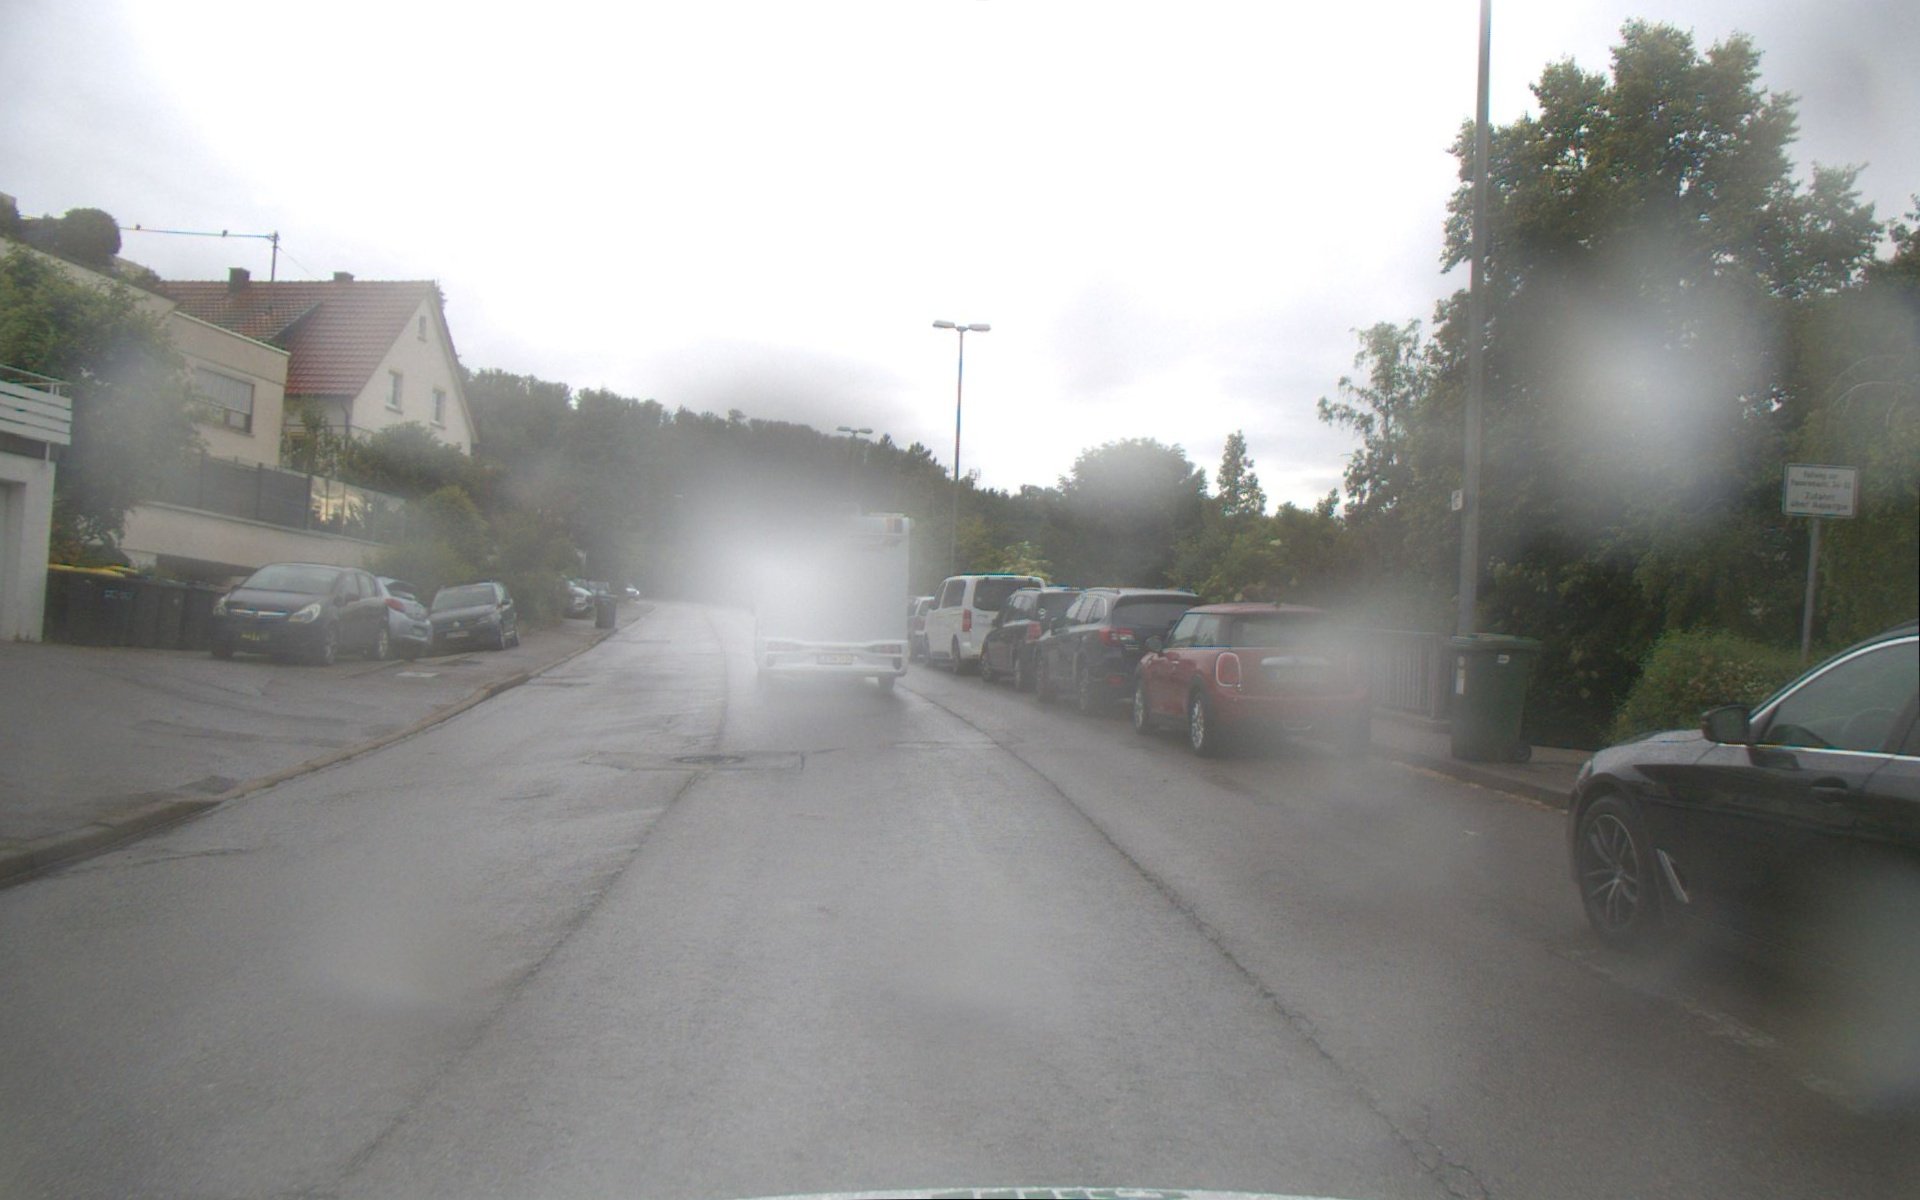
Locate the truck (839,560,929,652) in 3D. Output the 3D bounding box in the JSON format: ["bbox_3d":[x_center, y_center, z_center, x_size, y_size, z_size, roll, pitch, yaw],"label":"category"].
[{"bbox_3d":[-2.455,0.187,51.633,2.197,2.677,6.526,1,0,-8],"label":"truck"}]

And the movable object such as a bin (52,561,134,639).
[{"bbox_3d":[-12.173,-0.006,23.235,0.734,1.076,0.701,0,0,6],"label":"movable object such as a bin"}]

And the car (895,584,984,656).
[{"bbox_3d":[-0.530,0.452,39.023,1.617,1.590,3.956,1,0,-8],"label":"car"}]

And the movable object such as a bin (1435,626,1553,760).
[{"bbox_3d":[4.660,0.797,14.467,0.699,1.113,0.848,1,0,-5],"label":"movable object such as a bin"}]

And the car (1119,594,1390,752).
[{"bbox_3d":[2.896,0.683,17.091,1.702,1.439,3.846,1,0,-7],"label":"car"}]

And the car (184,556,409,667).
[{"bbox_3d":[-9.884,0.173,25.009,1.731,1.400,4.245,5,-1,-2],"label":"car"}]

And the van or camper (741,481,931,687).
[{"bbox_3d":[-2.204,-0.152,27.271,2.567,2.903,6.018,3,-2,-9],"label":"van or camper"}]

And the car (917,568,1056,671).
[{"bbox_3d":[0.447,0.378,33.616,1.816,1.915,4.897,1,0,-11],"label":"car"}]

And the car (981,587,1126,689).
[{"bbox_3d":[1.477,0.599,27.768,1.614,1.567,4.345,1,0,-8],"label":"car"}]

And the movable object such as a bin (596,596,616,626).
[{"bbox_3d":[-11.674,0.370,54.552,0.592,0.944,0.562,3,0,-14],"label":"movable object such as a bin"}]

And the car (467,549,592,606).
[{"bbox_3d":[-16.006,-0.820,61.580,3.971,1.721,1.894,5,-1,4],"label":"car"}]

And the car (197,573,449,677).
[{"bbox_3d":[-11.461,0.450,29.916,3.747,1.503,1.805,-5,-1,5],"label":"car"}]

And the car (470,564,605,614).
[{"bbox_3d":[-17.522,-0.444,68.686,4.976,1.978,2.143,1,0,7],"label":"car"}]

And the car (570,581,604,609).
[{"bbox_3d":[-21.885,-0.334,97.131,1.578,1.459,3.950,5,0,-10],"label":"car"}]

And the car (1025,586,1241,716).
[{"bbox_3d":[2.169,0.622,22.133,1.782,1.533,4.715,1,0,-8],"label":"car"}]

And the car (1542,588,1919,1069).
[{"bbox_3d":[3.820,0.715,5.614,1.757,1.485,4.785,1,0,-4],"label":"car"}]

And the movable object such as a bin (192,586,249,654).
[{"bbox_3d":[-12.084,0.319,27.033,0.638,1.097,0.558,0,0,12],"label":"movable object such as a bin"}]

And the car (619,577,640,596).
[{"bbox_3d":[-30.332,-1.251,151.888,1.872,1.635,4.416,2,0,-11],"label":"car"}]

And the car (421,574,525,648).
[{"bbox_3d":[-11.363,0.249,38.824,1.770,1.625,4.408,1,0,-9],"label":"car"}]

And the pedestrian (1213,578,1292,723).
[{"bbox_3d":[3.436,0.581,19.467,0.703,1.663,0.706,1,0,-8],"label":"pedestrian"}]

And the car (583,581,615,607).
[{"bbox_3d":[-22.502,-0.363,103.192,1.603,1.420,4.230,5,-1,-9],"label":"car"}]

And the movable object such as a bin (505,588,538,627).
[{"bbox_3d":[-12.780,0.215,48.244,0.683,1.102,0.710,1,0,10],"label":"movable object such as a bin"}]
